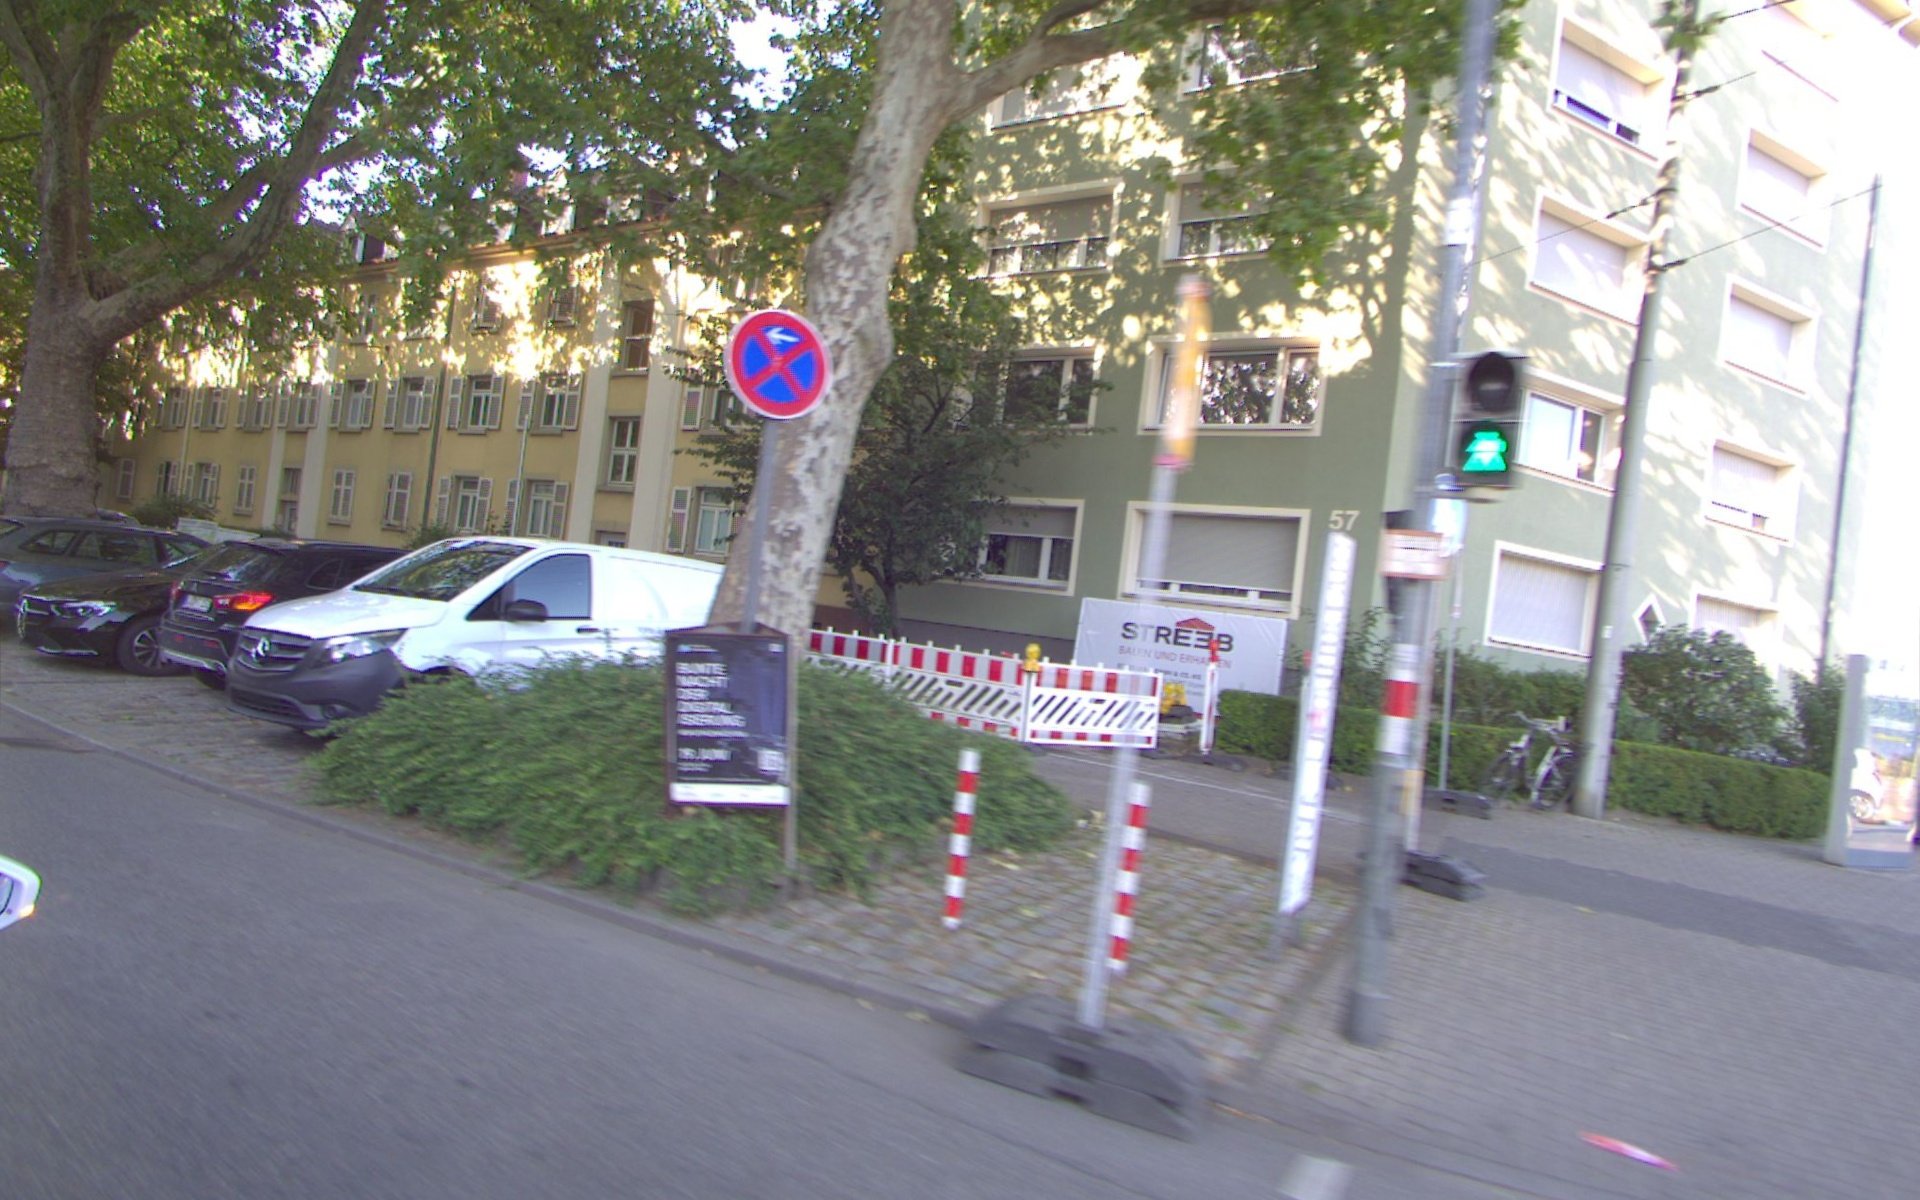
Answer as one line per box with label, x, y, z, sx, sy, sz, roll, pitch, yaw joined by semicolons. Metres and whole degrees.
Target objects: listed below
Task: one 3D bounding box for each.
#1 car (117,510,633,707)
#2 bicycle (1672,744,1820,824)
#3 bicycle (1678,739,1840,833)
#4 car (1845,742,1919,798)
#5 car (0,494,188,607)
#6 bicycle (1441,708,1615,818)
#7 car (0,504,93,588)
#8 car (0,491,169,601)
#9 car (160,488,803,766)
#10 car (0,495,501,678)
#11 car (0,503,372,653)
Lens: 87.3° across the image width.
car;-6.089;0.222;11.064;1.911;1.620;4.414;6;-2;32
bicycle;13.564;3.160;17.424;0.638;1.014;1.836;7;-1;-26
bicycle;12.184;2.815;15.427;0.513;1.069;1.928;7;-1;-16
car;35.573;6.440;37.683;1.633;1.678;4.010;7;-2;9
car;-16.088;-0.960;16.721;1.888;1.621;4.719;7;-1;32
bicycle;6.749;1.939;11.957;1.904;1.069;0.519;7;-1;-15
car;-20.632;-1.311;19.985;1.888;1.552;4.720;7;-1;31
car;-17.822;-1.141;18.476;1.888;1.742;4.720;7;-1;31
car;-3.967;0.294;9.510;1.898;1.848;5.227;5;-1;31
car;-8.340;-0.030;12.163;1.888;1.621;4.719;7;-1;32
car;-10.736;-0.257;13.391;1.887;1.524;4.595;7;-2;29
